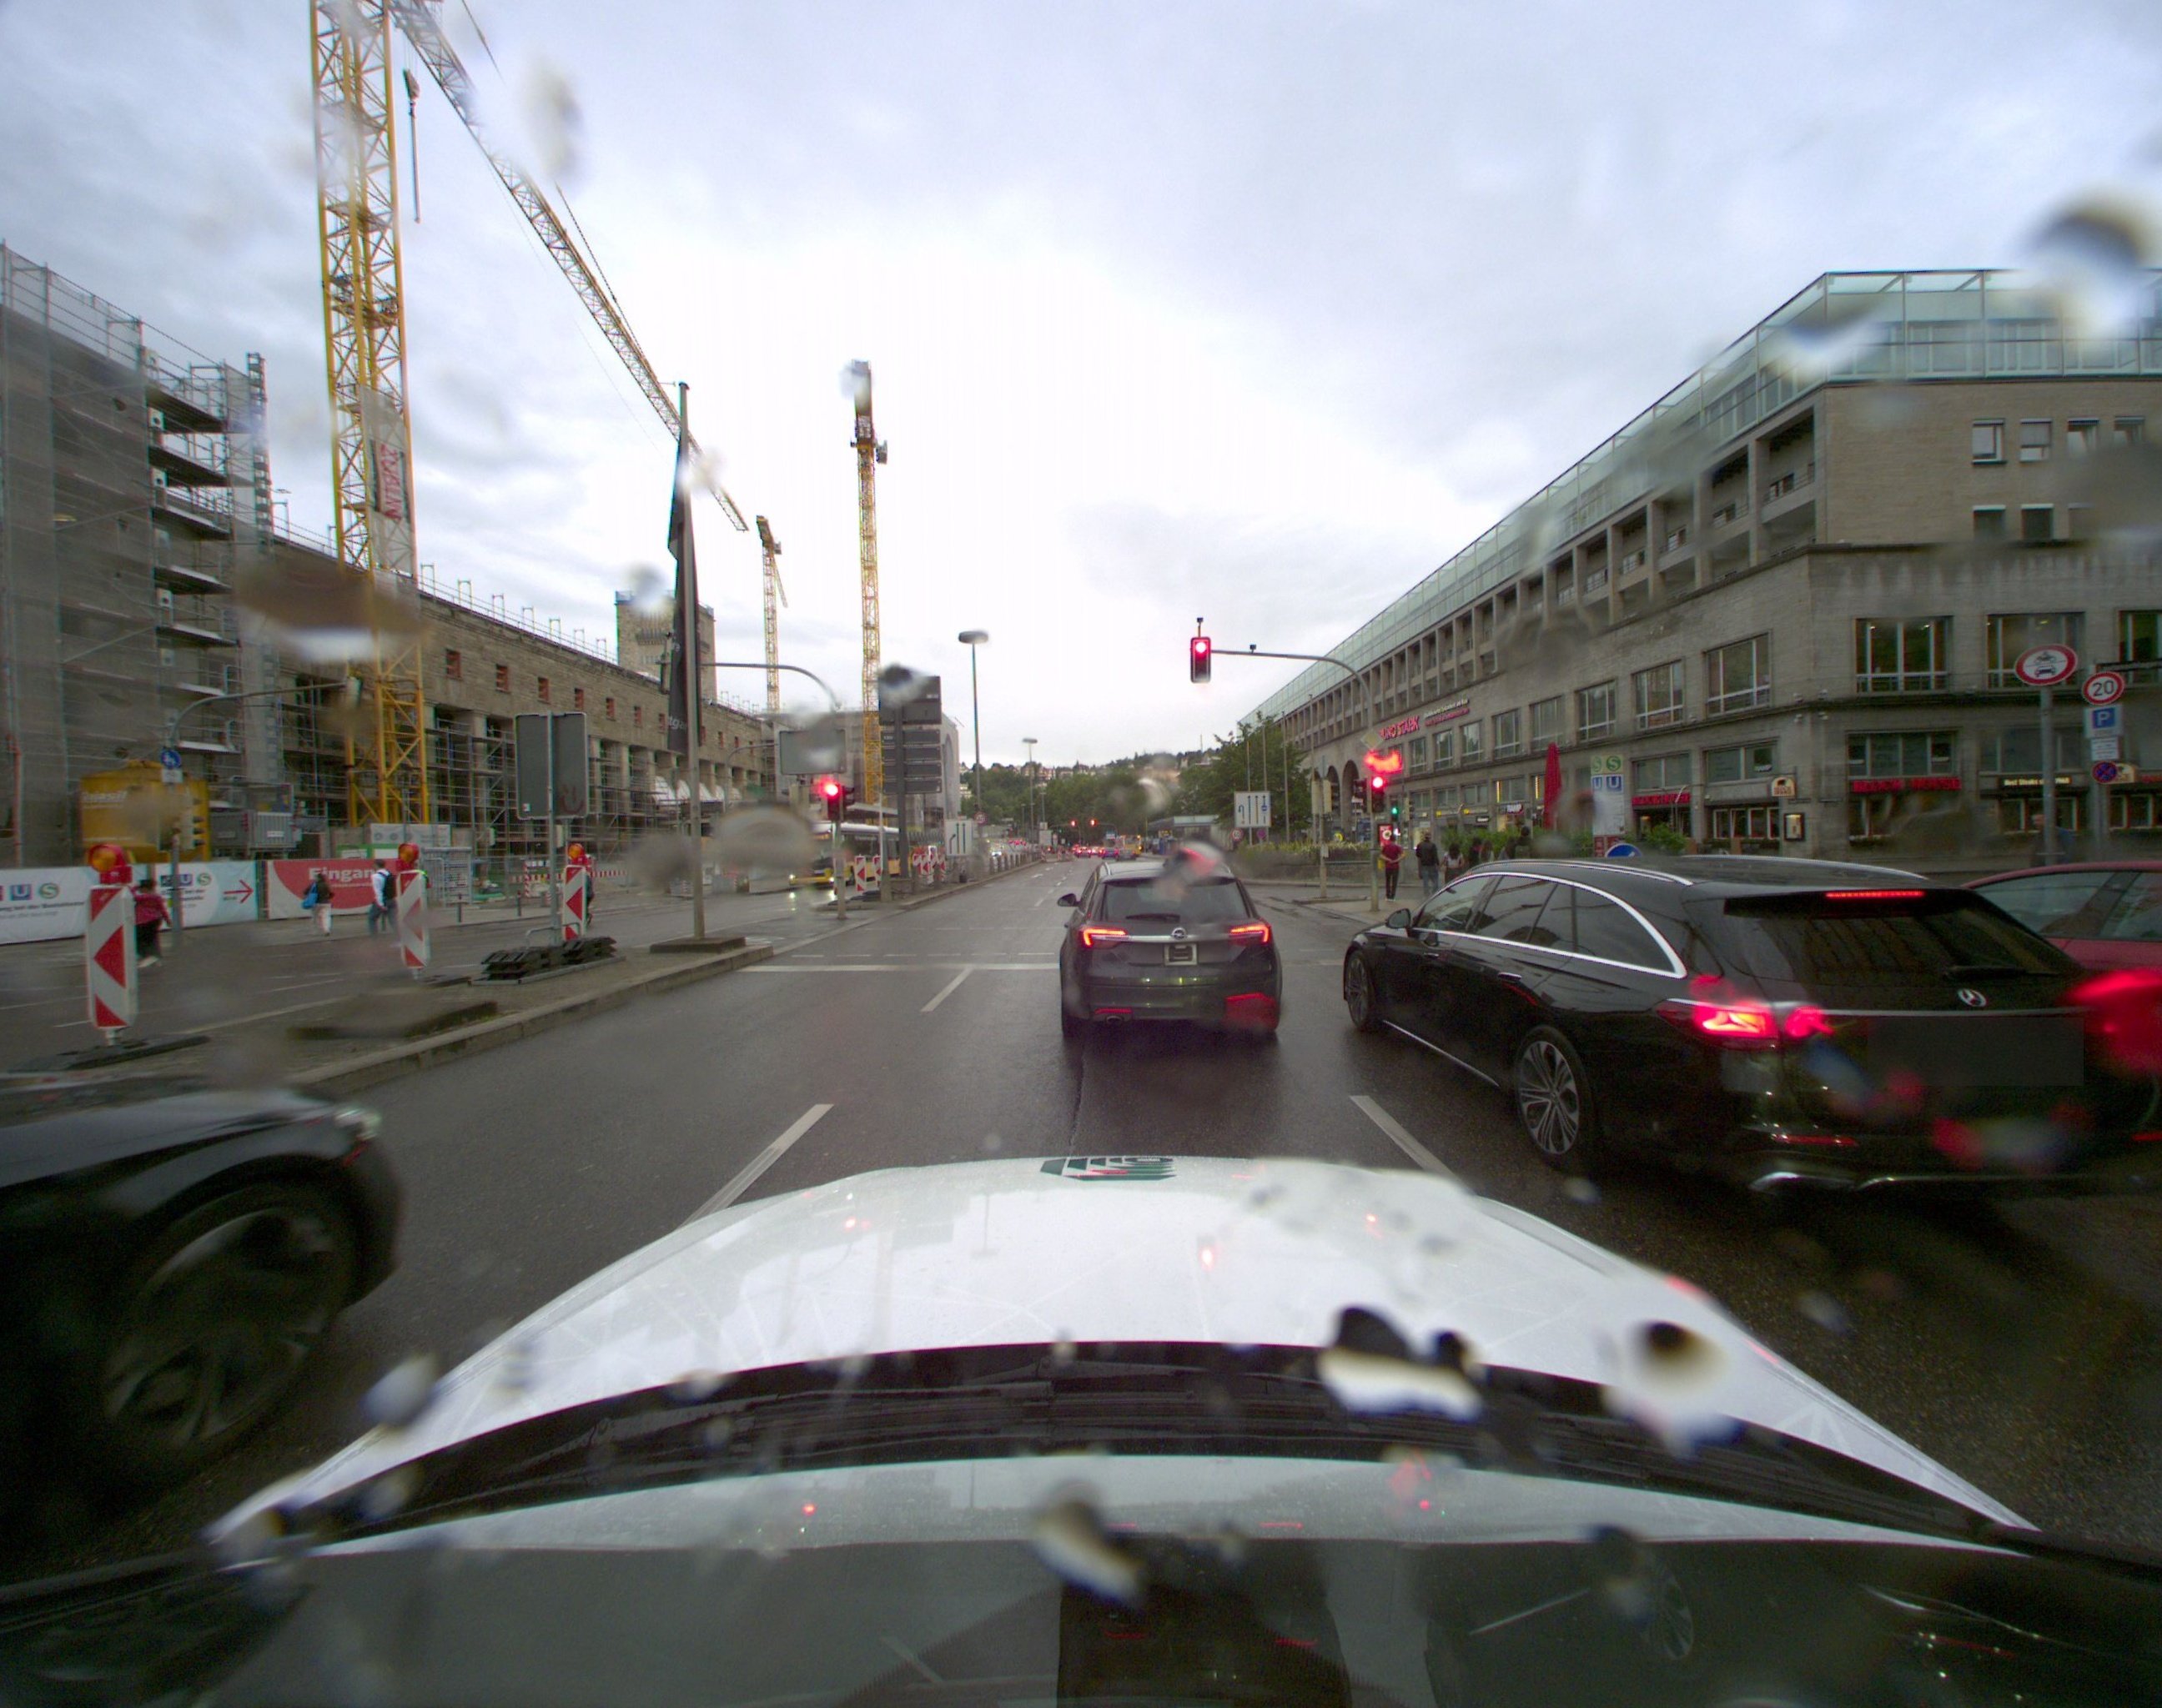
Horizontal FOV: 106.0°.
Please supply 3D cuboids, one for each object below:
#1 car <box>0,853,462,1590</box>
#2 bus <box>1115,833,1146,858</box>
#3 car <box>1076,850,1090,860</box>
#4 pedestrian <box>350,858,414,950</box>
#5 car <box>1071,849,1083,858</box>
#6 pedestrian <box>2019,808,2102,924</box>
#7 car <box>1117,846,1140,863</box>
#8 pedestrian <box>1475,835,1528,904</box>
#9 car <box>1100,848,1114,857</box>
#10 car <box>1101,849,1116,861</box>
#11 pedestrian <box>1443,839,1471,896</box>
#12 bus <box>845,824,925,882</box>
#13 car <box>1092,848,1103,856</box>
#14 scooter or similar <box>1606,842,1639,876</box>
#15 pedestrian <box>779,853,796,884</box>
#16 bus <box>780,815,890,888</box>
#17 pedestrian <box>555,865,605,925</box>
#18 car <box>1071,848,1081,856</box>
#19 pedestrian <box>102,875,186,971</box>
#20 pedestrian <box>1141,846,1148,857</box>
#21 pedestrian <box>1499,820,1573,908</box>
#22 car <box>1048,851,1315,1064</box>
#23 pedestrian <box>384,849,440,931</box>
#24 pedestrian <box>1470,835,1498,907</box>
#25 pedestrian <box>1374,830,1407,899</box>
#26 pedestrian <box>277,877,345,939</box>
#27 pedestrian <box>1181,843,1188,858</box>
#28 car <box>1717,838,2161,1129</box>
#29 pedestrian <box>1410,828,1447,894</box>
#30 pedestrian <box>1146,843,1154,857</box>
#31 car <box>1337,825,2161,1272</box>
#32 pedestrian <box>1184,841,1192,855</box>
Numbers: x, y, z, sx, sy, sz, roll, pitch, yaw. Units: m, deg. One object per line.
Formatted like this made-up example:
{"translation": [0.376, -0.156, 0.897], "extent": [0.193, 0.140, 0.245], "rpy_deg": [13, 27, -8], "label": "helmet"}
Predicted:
{"translation": [-3.120, 0.732, 0.510], "extent": [1.848, 1.469, 4.589], "rpy_deg": [0, 0, 2], "label": "car"}
{"translation": [7.211, -1.132, 120.943], "extent": [4.158, 3.469, 14.660], "rpy_deg": [0, 0, 2], "label": "bus"}
{"translation": [0.317, 0.132, 112.221], "extent": [1.839, 1.398, 3.565], "rpy_deg": [0, 0, 2], "label": "car"}
{"translation": [-14.684, 1.036, 17.116], "extent": [0.798, 1.890, 0.618], "rpy_deg": [0, -1, -7], "label": "pedestrian"}
{"translation": [-0.595, -0.021, 127.404], "extent": [1.839, 1.398, 3.565], "rpy_deg": [0, 0, 2], "label": "car"}
{"translation": [15.378, 0.181, 12.808], "extent": [0.770, 1.756, 0.507], "rpy_deg": [-1, -1, 45], "label": "pedestrian"}
{"translation": [4.046, 0.064, 69.288], "extent": [1.838, 1.398, 3.668], "rpy_deg": [0, 0, 2], "label": "car"}
{"translation": [10.100, 0.371, 19.606], "extent": [0.791, 1.626, 0.899], "rpy_deg": [0, -1, -2], "label": "pedestrian"}
{"translation": [3.740, -0.201, 117.864], "extent": [1.747, 1.398, 4.401], "rpy_deg": [0, 0, 0], "label": "car"}
{"translation": [3.370, 0.100, 100.410], "extent": [1.748, 1.398, 4.647], "rpy_deg": [0, 0, -1], "label": "car"}
{"translation": [9.554, 0.336, 20.731], "extent": [0.625, 1.428, 0.492], "rpy_deg": [-1, -1, 24], "label": "pedestrian"}
{"translation": [-13.165, -0.062, 55.780], "extent": [2.658, 3.602, 10.215], "rpy_deg": [0, 0, 2], "label": "bus"}
{"translation": [2.868, -0.396, 141.473], "extent": [1.839, 1.398, 3.565], "rpy_deg": [0, 0, 2], "label": "car"}
{"translation": [19.369, 0.193, 29.127], "extent": [0.290, 1.189, 1.014], "rpy_deg": [0, -1, -17], "label": "scooter or similar"}
{"translation": [-15.992, 0.802, 44.430], "extent": [0.657, 1.680, 0.644], "rpy_deg": [0, -1, 2], "label": "pedestrian"}
{"translation": [-13.393, -0.111, 45.461], "extent": [2.658, 3.602, 10.243], "rpy_deg": [0, 0, 2], "label": "bus"}
{"translation": [-13.368, 1.074, 21.739], "extent": [0.864, 1.561, 0.792], "rpy_deg": [-1, -1, 27], "label": "pedestrian"}
{"translation": [-0.924, -0.363, 150.235], "extent": [1.752, 1.398, 3.565], "rpy_deg": [0, 0, 2], "label": "car"}
{"translation": [-17.651, 1.290, 15.356], "extent": [0.797, 1.717, 0.619], "rpy_deg": [-3, 0, -2], "label": "pedestrian"}
{"translation": [11.577, -0.453, 147.705], "extent": [1.194, 2.149, 1.229], "rpy_deg": [0, -1, 3], "label": "pedestrian"}
{"translation": [9.487, 0.207, 17.001], "extent": [1.093, 1.751, 0.653], "rpy_deg": [-3, -1, -1], "label": "pedestrian"}
{"translation": [0.757, 0.738, 7.743], "extent": [1.868, 1.486, 4.001], "rpy_deg": [0, 0, 1], "label": "car"}
{"translation": [-15.335, 0.802, 18.688], "extent": [0.576, 1.836, 0.820], "rpy_deg": [0, -1, 2], "label": "pedestrian"}
{"translation": [10.100, 0.419, 20.439], "extent": [0.477, 1.751, 0.670], "rpy_deg": [-4, -1, 22], "label": "pedestrian"}
{"translation": [8.036, 0.277, 21.129], "extent": [0.563, 1.752, 0.684], "rpy_deg": [-1, -1, 44], "label": "pedestrian"}
{"translation": [-20.009, 1.384, 21.182], "extent": [0.912, 1.563, 0.899], "rpy_deg": [0, -1, -2], "label": "pedestrian"}
{"translation": [12.122, -0.390, 95.354], "extent": [0.761, 1.690, 0.824], "rpy_deg": [0, -1, -3], "label": "pedestrian"}
{"translation": [6.461, 0.658, 4.866], "extent": [1.868, 1.486, 4.527], "rpy_deg": [0, 0, 1], "label": "car"}
{"translation": [9.116, 0.187, 21.351], "extent": [0.753, 1.717, 0.466], "rpy_deg": [0, -1, -2], "label": "pedestrian"}
{"translation": [11.389, -0.661, 134.270], "extent": [1.194, 2.435, 1.229], "rpy_deg": [0, -1, 3], "label": "pedestrian"}
{"translation": [3.125, 0.666, 5.067], "extent": [1.786, 1.501, 4.631], "rpy_deg": [0, 0, 2], "label": "car"}
{"translation": [12.378, -0.698, 94.154], "extent": [0.761, 1.690, 0.824], "rpy_deg": [0, -1, -3], "label": "pedestrian"}
